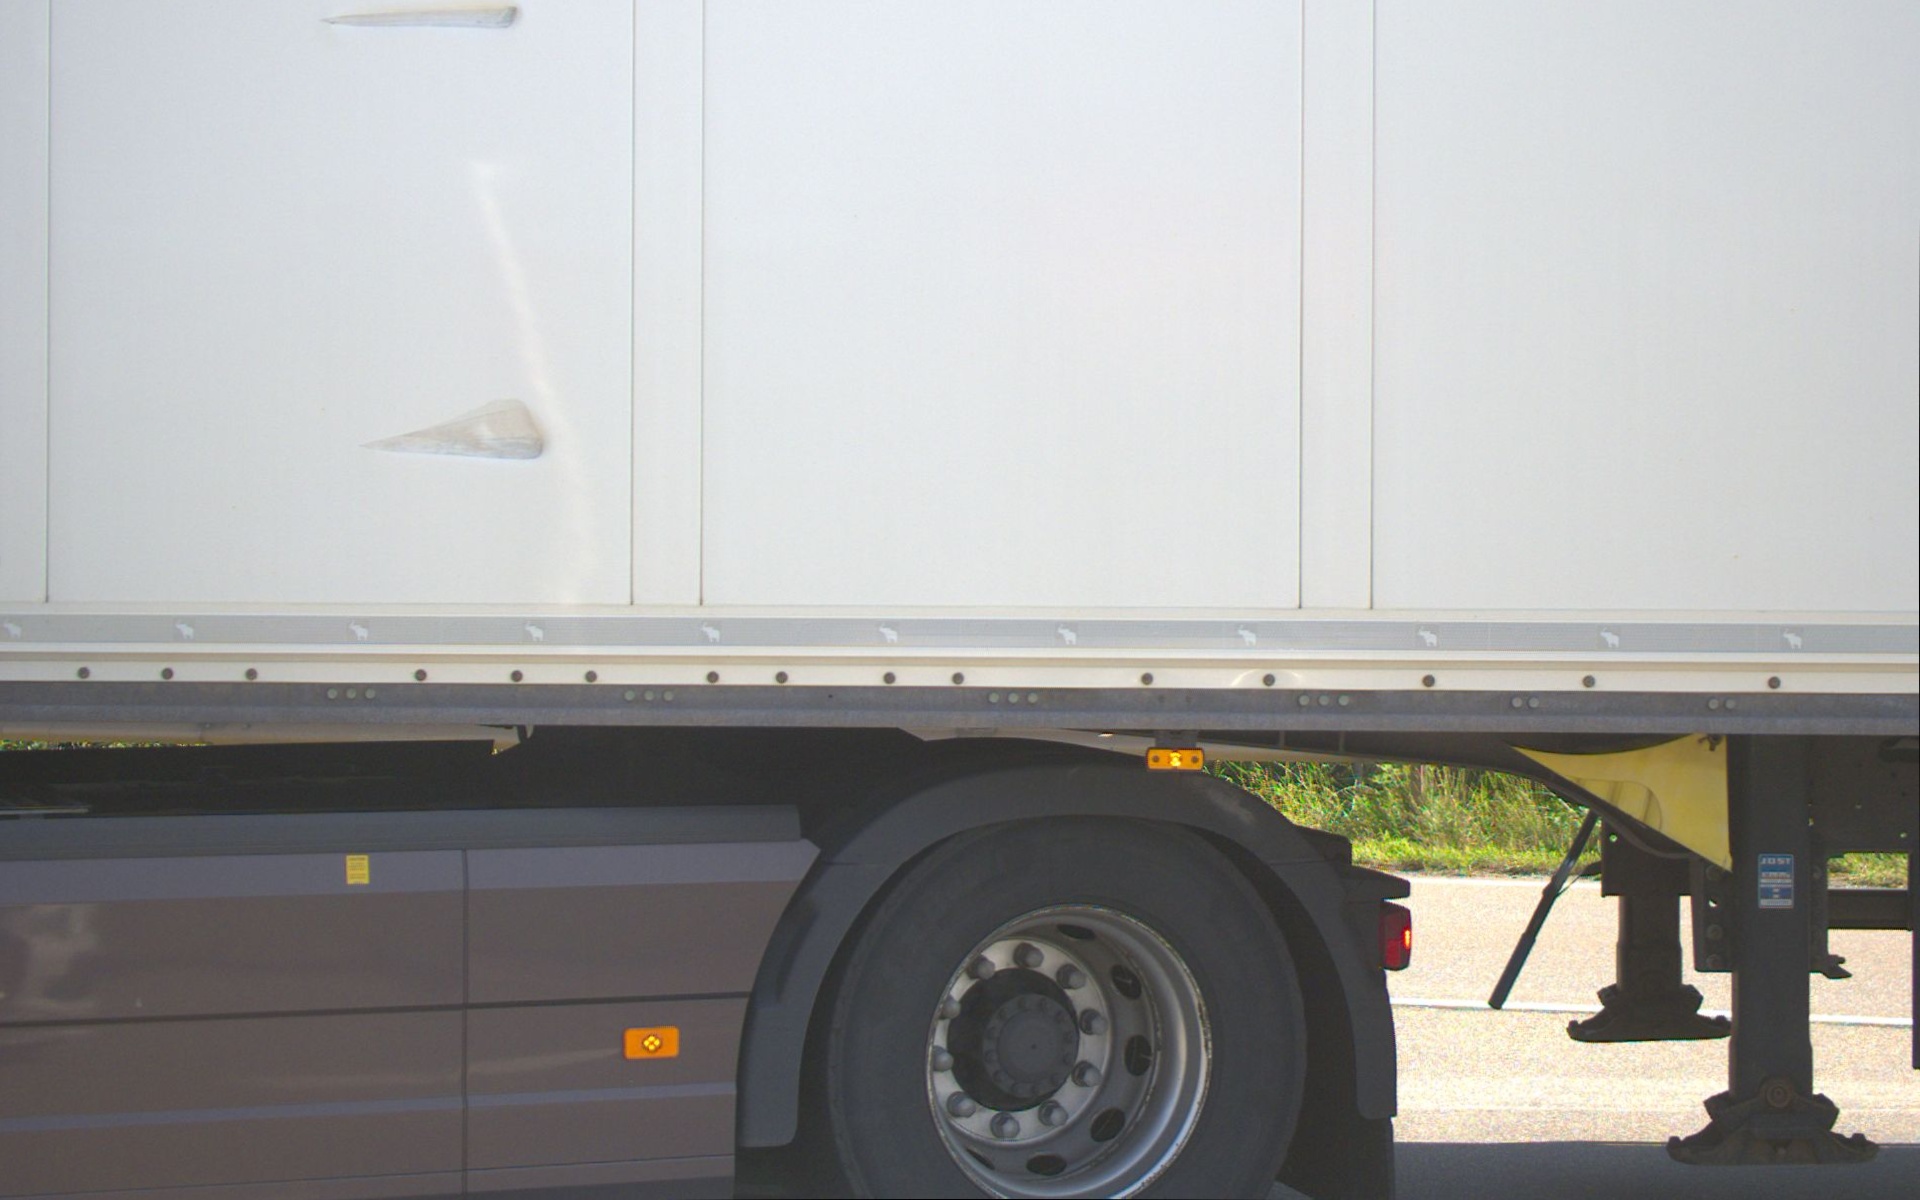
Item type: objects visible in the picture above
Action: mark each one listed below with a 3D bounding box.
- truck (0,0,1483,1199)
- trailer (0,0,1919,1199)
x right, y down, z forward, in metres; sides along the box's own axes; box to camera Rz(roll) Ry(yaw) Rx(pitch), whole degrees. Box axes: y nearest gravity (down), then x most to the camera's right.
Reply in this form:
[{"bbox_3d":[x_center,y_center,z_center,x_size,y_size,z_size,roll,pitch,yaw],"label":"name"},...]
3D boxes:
[{"bbox_3d":[-2.310,-0.769,6.812,5.949,4.159,2.881,1,1,-19],"label":"truck"},{"bbox_3d":[4.536,-0.719,7.113,13.936,4.151,2.896,0,1,4],"label":"trailer"}]
